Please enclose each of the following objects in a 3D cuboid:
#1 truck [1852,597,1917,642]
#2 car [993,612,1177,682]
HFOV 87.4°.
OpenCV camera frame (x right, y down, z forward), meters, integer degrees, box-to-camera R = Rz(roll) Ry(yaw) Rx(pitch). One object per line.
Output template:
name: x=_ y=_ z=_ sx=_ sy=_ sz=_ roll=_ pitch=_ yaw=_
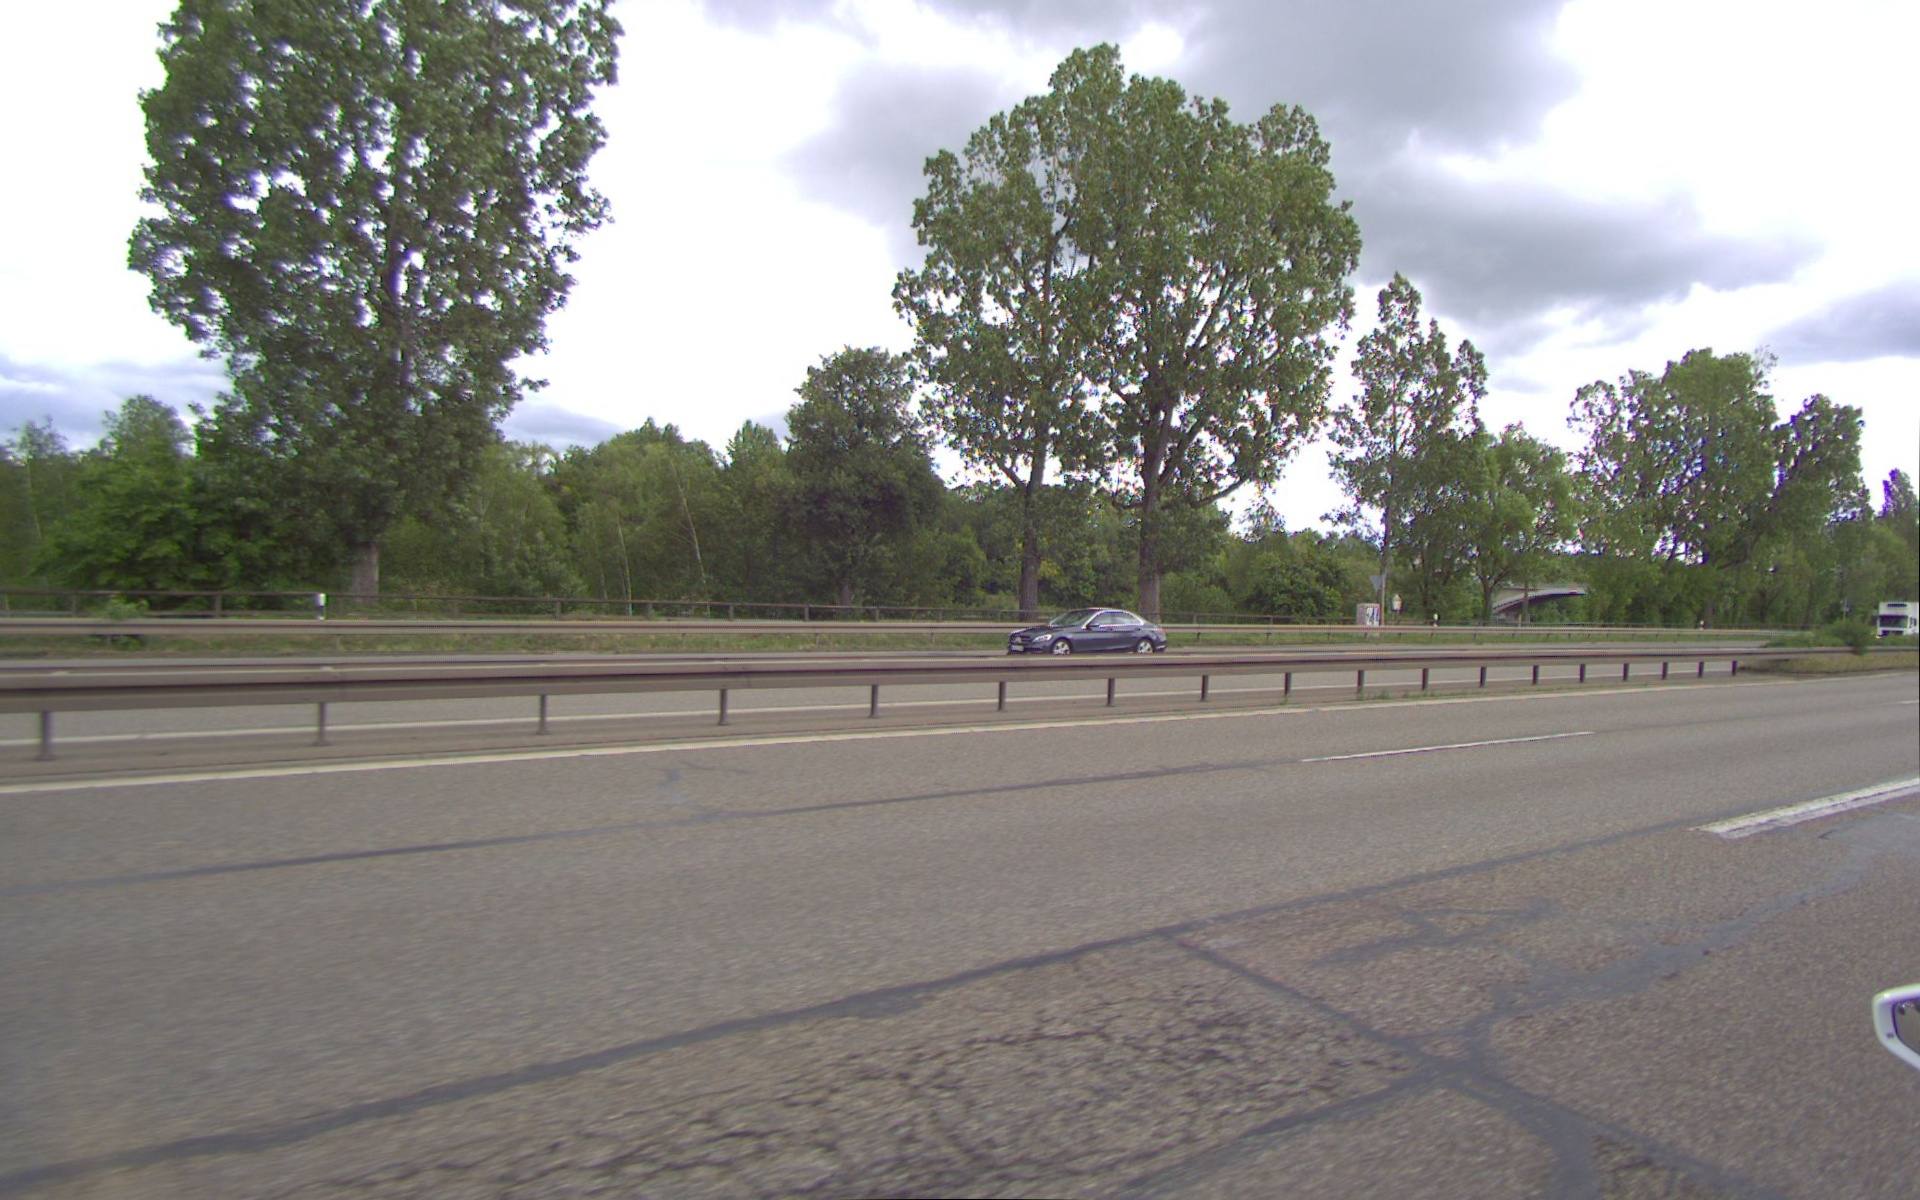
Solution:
truck: x=81.245 y=1.714 z=88.249 sx=6.279 sy=3.693 sz=2.960 roll=1 pitch=3 yaw=-37
car: x=3.332 y=1.227 z=26.440 sx=4.603 sy=1.629 sz=1.982 roll=1 pitch=-6 yaw=-35
